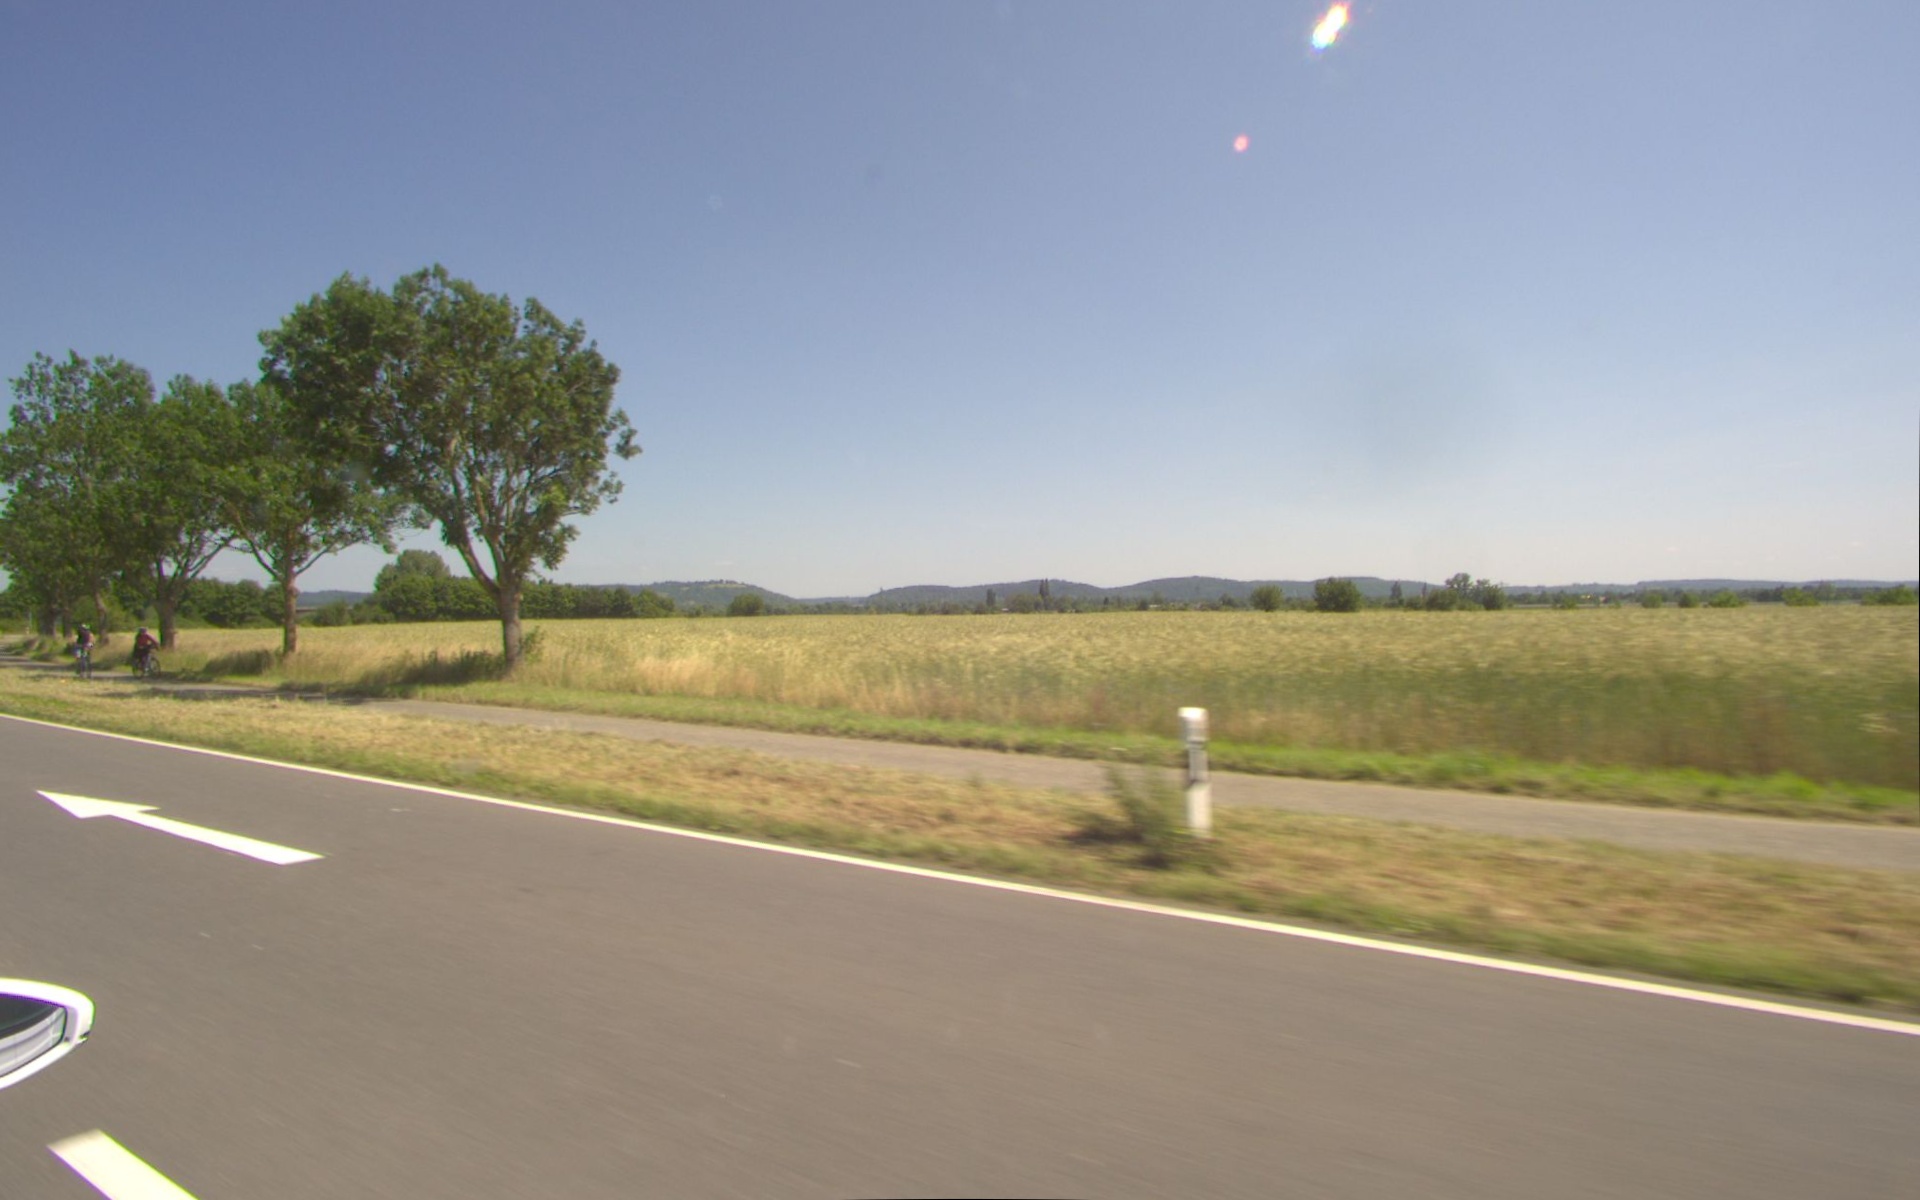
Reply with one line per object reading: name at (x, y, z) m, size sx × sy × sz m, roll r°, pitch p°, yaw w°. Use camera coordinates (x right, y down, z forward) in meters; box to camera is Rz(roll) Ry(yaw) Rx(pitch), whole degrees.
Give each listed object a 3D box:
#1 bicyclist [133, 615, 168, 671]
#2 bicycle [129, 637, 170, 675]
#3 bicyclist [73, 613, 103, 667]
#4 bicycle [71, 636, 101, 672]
bicyclist at (-26.883, 1.424, 33.255) m, size 0.967 × 1.804 × 0.625 m, roll 0°, pitch -4°, yaw 42°
bicycle at (-26.881, 1.840, 33.201) m, size 2.028 × 1.225 × 0.695 m, roll -1°, pitch -4°, yaw 42°
bicyclist at (-29.681, 1.352, 34.072) m, size 0.584 × 1.755 × 1.160 m, roll 6°, pitch -4°, yaw -44°
bicycle at (-29.701, 1.831, 34.028) m, size 0.602 × 1.191 × 2.031 m, roll 5°, pitch -5°, yaw -44°
